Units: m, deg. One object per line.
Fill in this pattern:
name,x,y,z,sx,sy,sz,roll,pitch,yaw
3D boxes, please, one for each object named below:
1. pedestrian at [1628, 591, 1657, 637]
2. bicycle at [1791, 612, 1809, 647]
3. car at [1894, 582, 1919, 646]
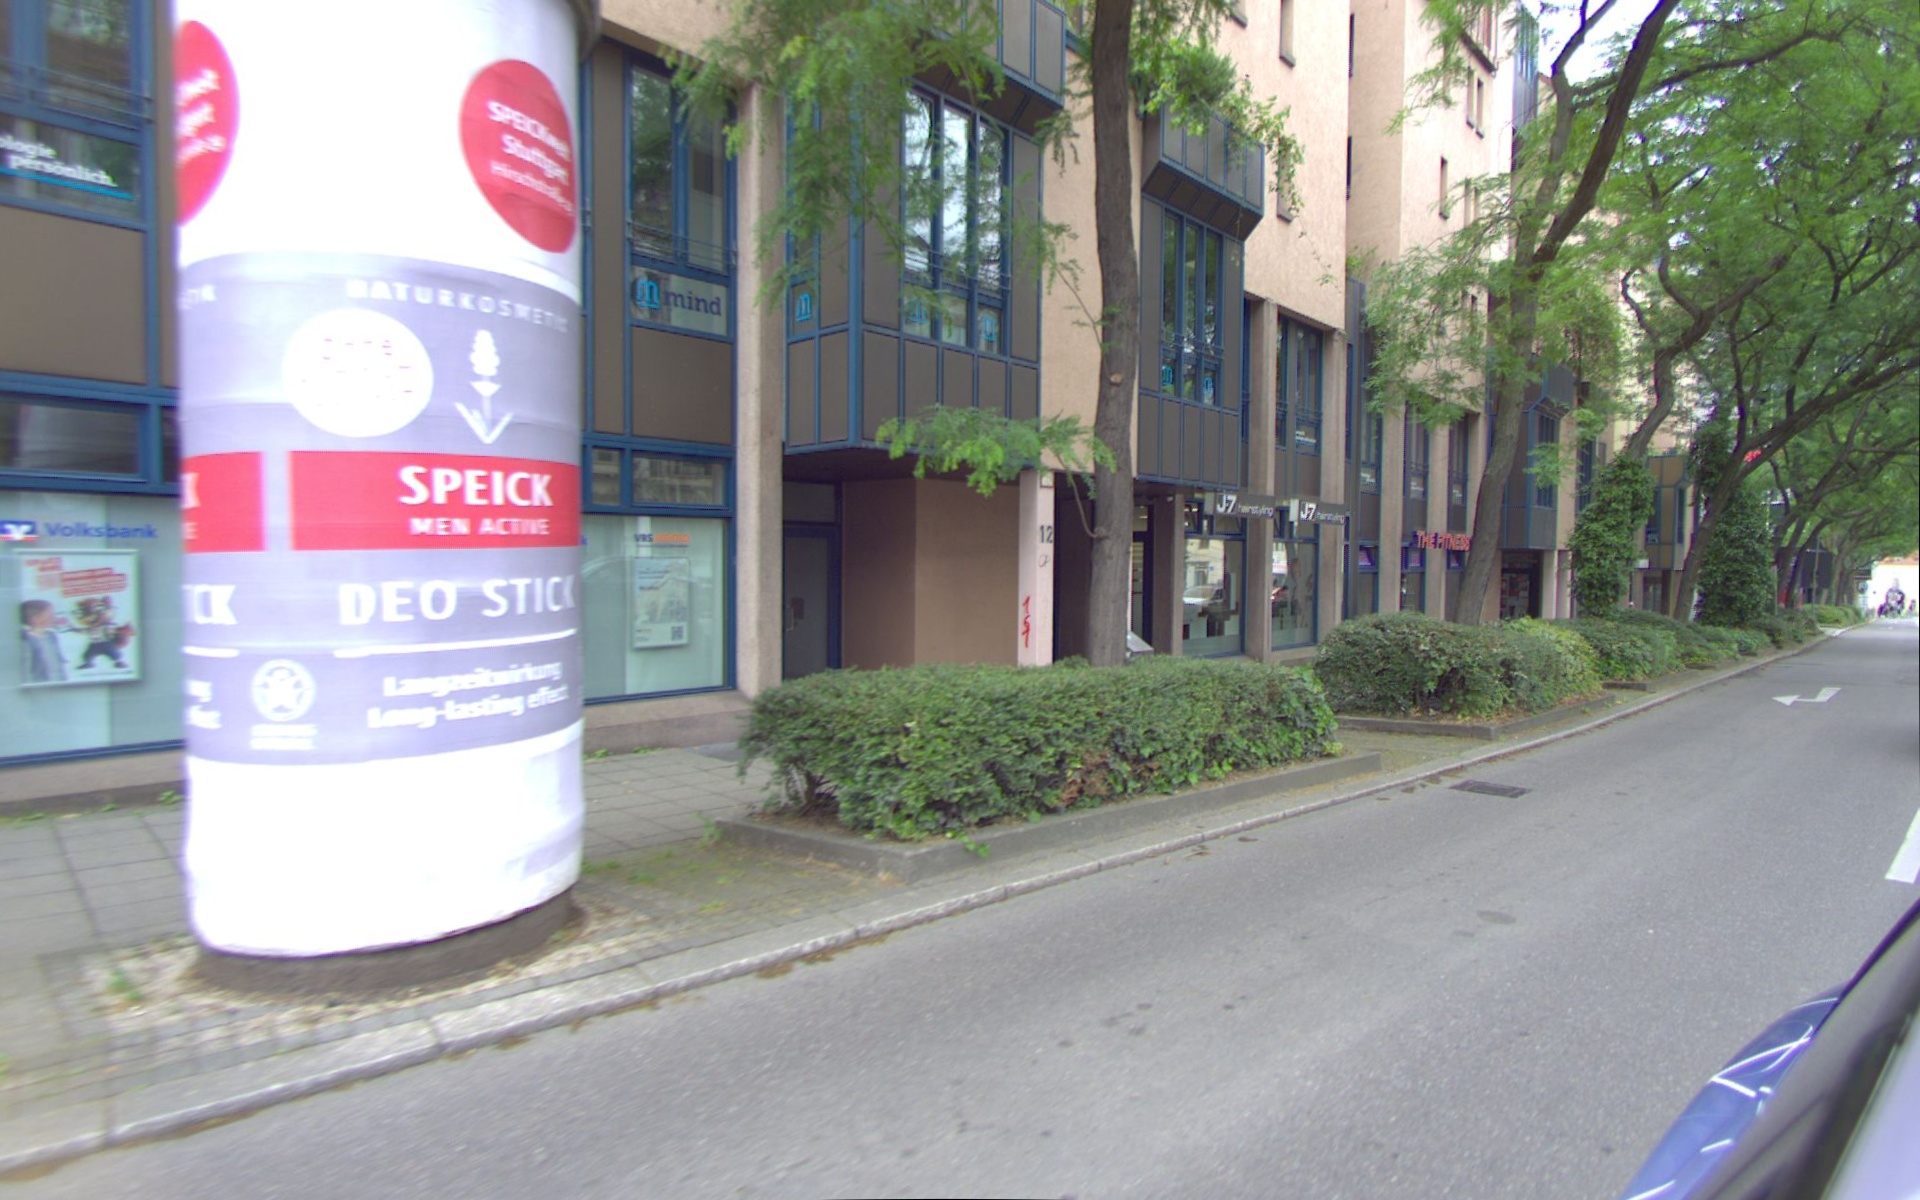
pedestrian,25.998,0.529,38.559,0.675,1.733,0.711,2,0,-39
bicycle,30.235,1.042,36.441,0.360,1.216,1.550,2,1,36
car,35.313,0.490,35.814,5.624,2.184,2.503,0,0,-39
